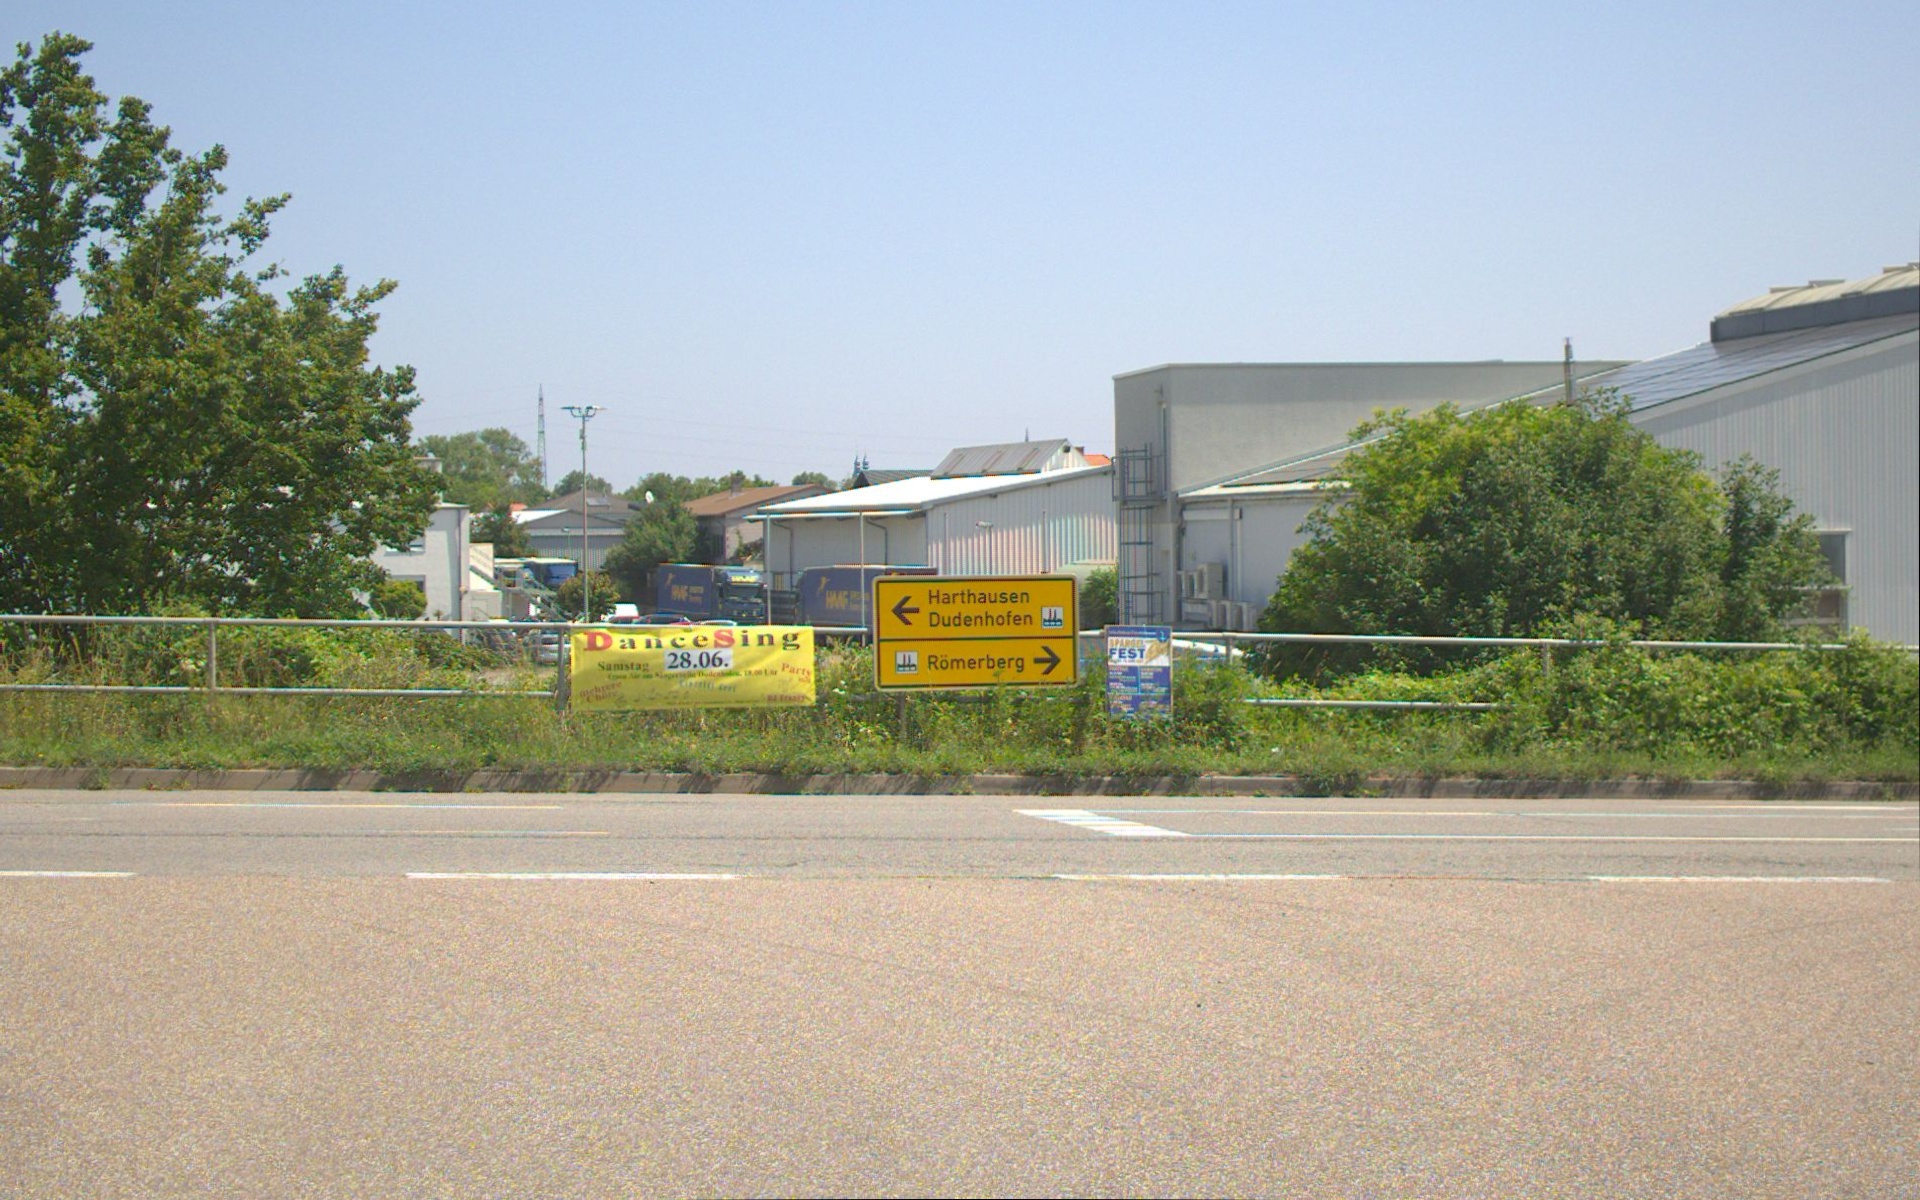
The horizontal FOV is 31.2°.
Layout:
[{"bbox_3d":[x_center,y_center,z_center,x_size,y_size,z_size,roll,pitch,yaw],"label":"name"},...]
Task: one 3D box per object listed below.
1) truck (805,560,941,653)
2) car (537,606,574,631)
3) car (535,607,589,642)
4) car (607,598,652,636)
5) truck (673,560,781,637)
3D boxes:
[{"bbox_3d":[-4.365,0.268,167.354,3.707,4.296,13.346,1,0,-14],"label":"truck"},{"bbox_3d":[-22.479,1.013,190.899,1.450,1.346,3.317,1,0,-17],"label":"car"},{"bbox_3d":[-21.142,1.285,182.324,1.993,1.725,4.865,1,0,-16],"label":"car"},{"bbox_3d":[-18.204,0.910,189.289,1.716,2.007,4.001,0,0,-16],"label":"car"},{"bbox_3d":[-13.691,-0.152,200.473,3.410,4.296,14.597,1,0,-15],"label":"truck"}]
